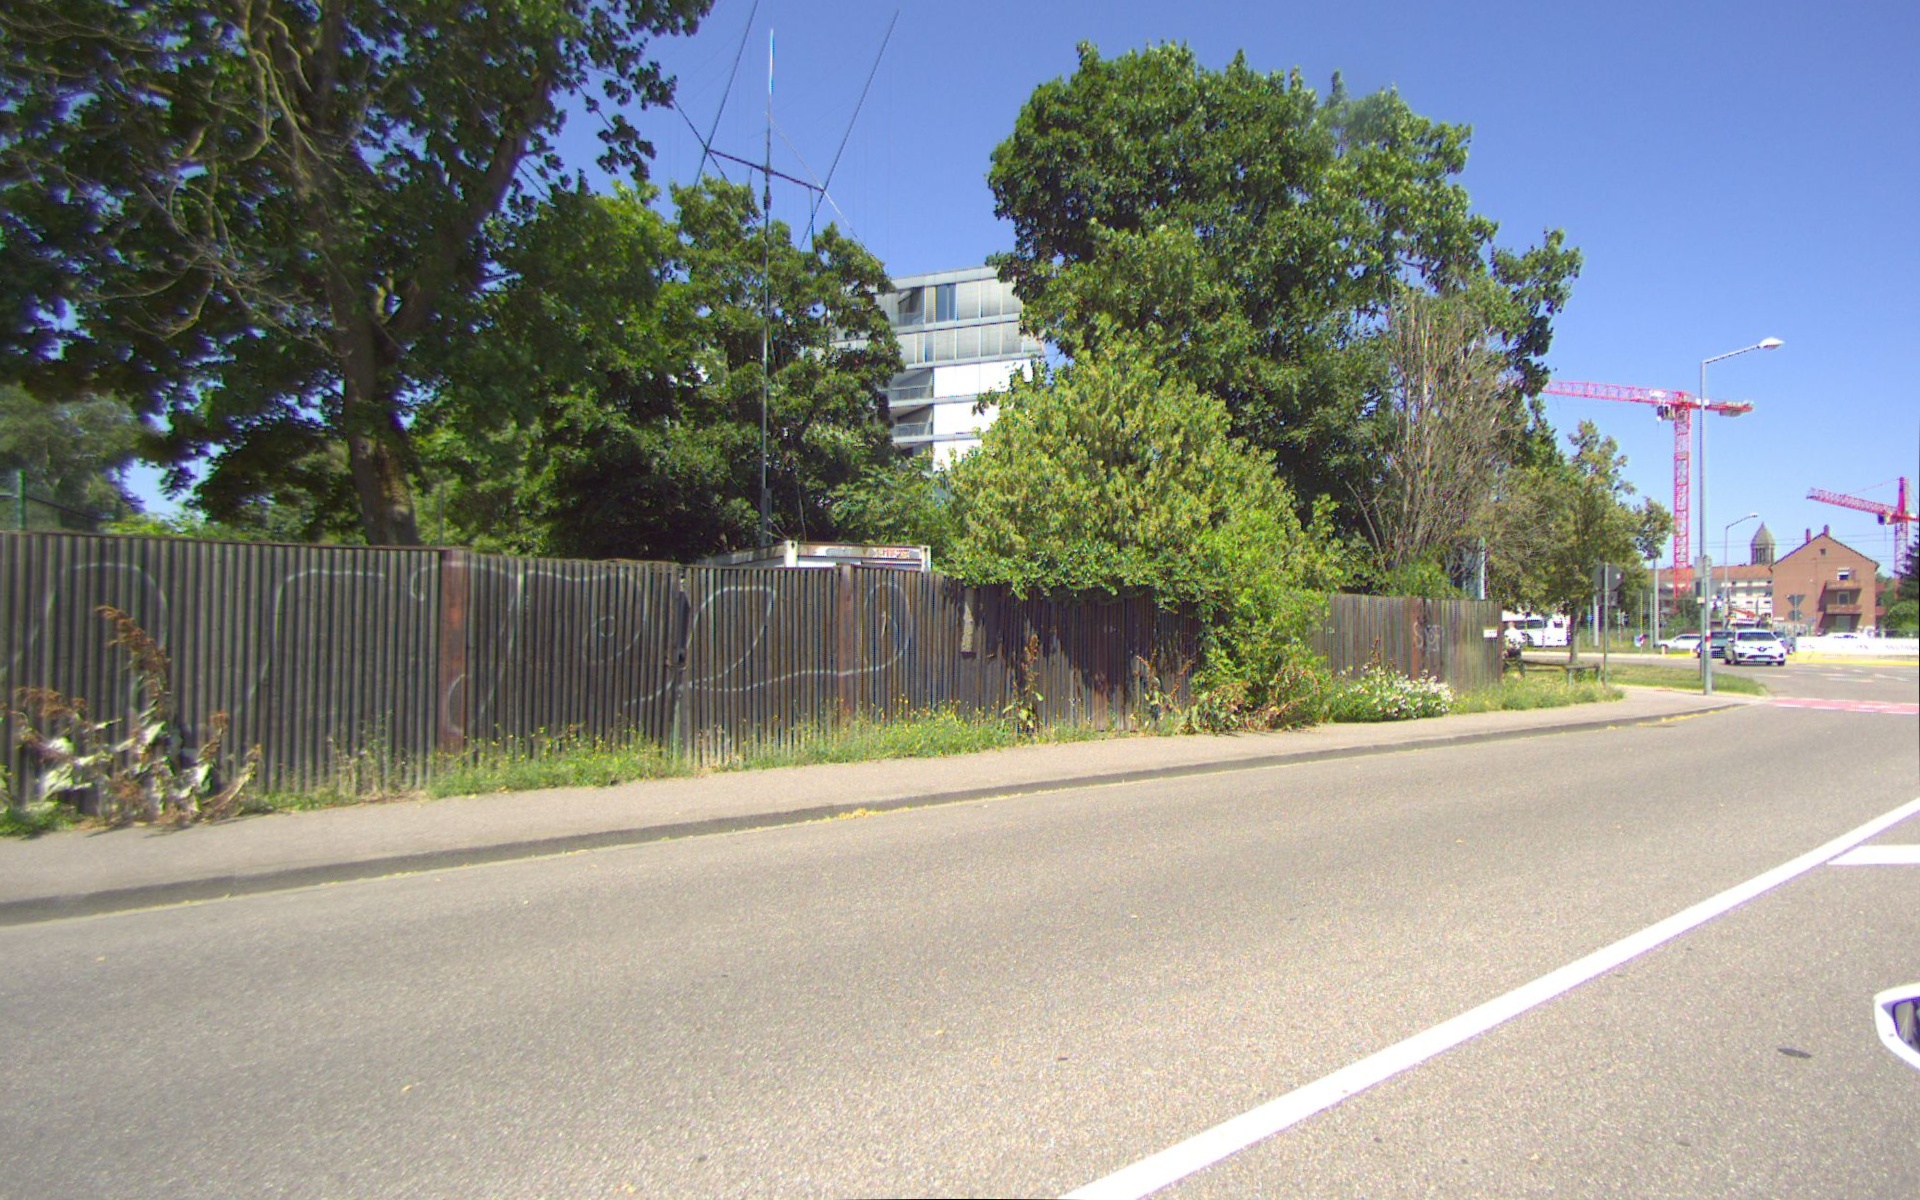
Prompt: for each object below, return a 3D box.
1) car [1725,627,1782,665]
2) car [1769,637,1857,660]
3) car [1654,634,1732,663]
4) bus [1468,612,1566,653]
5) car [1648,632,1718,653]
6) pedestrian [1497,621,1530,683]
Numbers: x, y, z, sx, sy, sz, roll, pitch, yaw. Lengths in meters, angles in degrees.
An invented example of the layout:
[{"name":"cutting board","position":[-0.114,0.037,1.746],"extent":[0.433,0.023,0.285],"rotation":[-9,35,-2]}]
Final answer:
[{"name":"car","position":[34.749,1.985,44.061],"extent":[1.752,1.547,3.859],"rotation":[-1,-2,36]},{"name":"car","position":[59.229,3.347,69.817],"extent":[4.246,1.390,1.752],"rotation":[2,0,21]},{"name":"car","position":[37.799,2.501,51.769],"extent":[4.282,1.390,1.737],"rotation":[2,0,-31]},{"name":"bus","position":[47.856,2.740,86.499],"extent":[2.234,3.215,7.219],"rotation":[2,0,-29]},{"name":"car","position":[55.704,3.236,77.446],"extent":[4.261,1.390,1.746],"rotation":[2,0,37]},{"name":"pedestrian","position":[16.694,1.553,30.294],"extent":[0.625,1.810,0.969],"rotation":[2,0,15]}]
